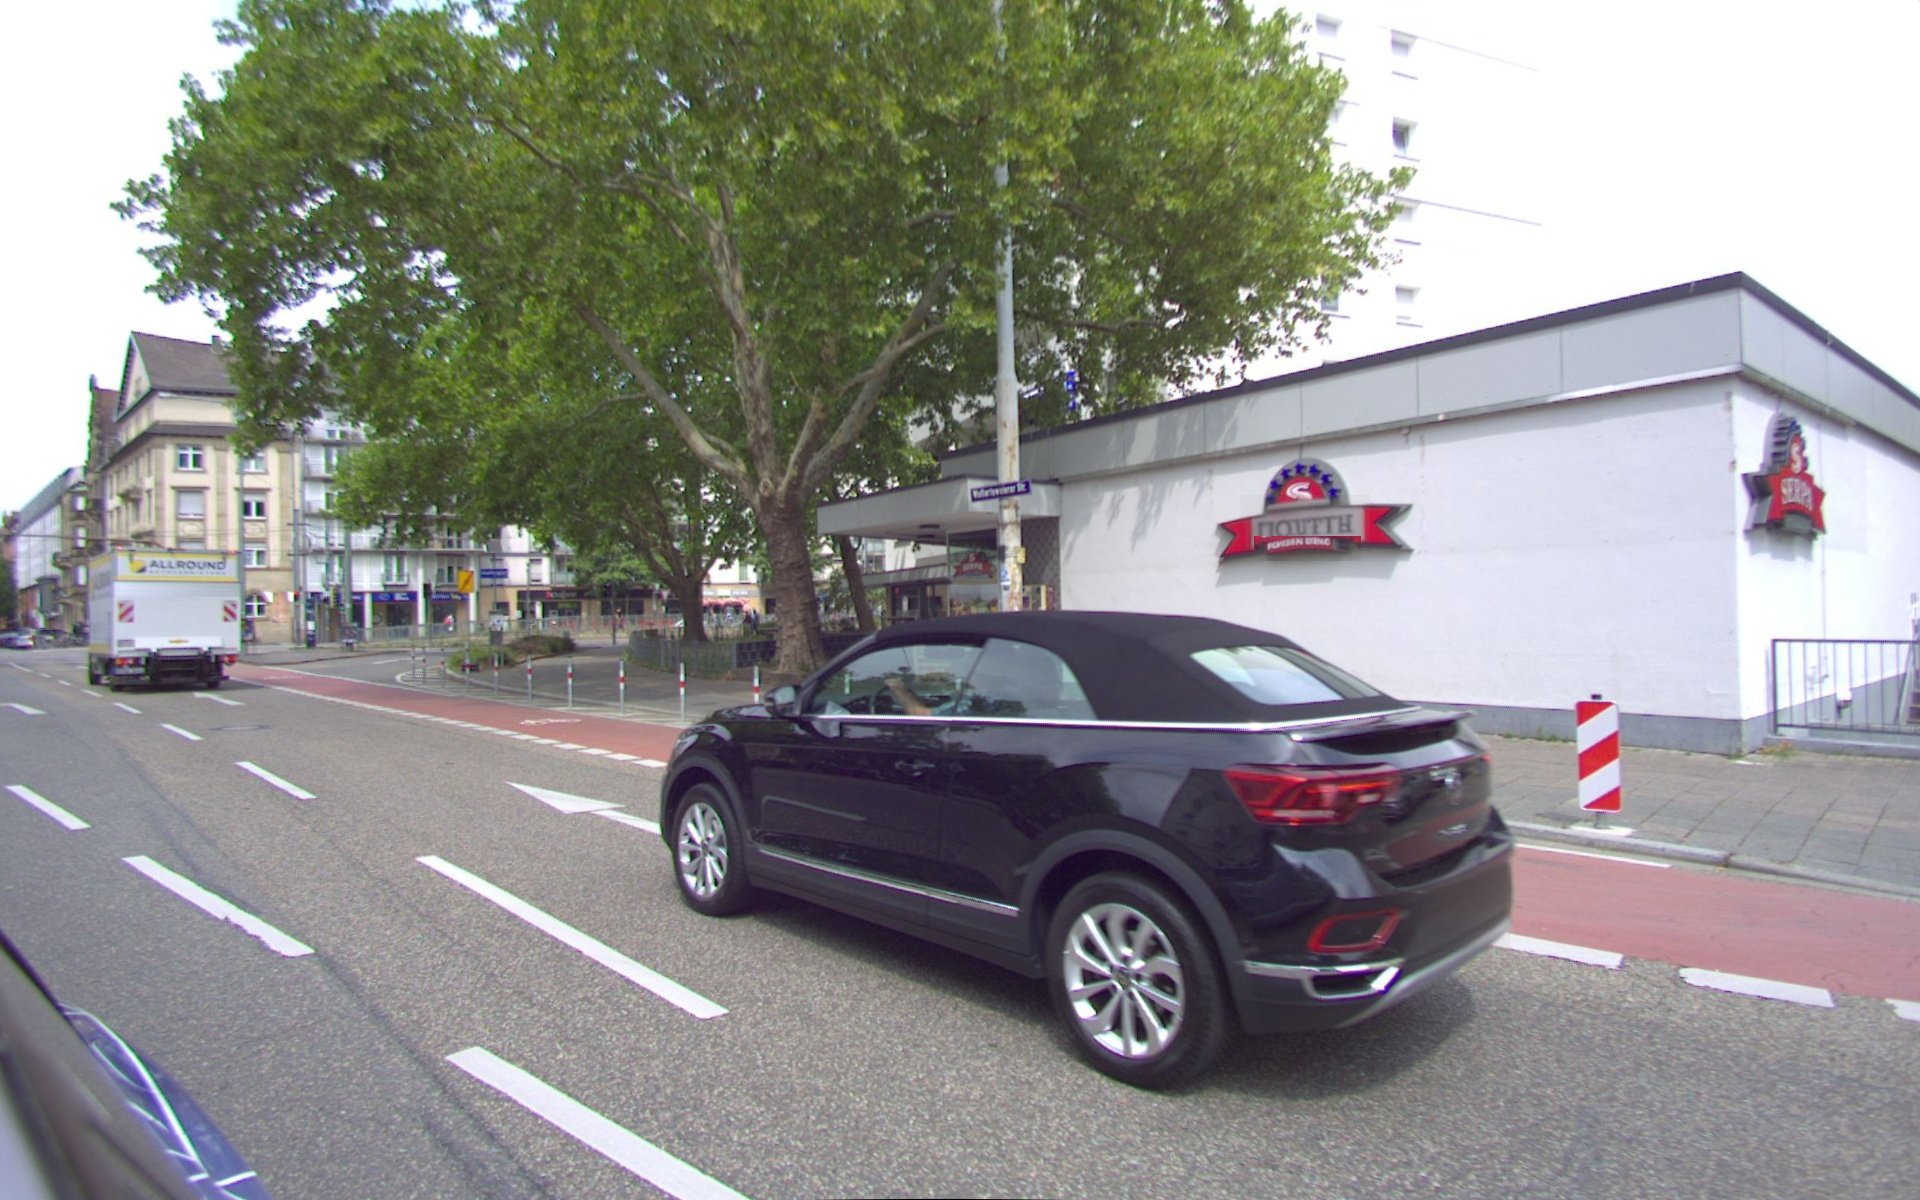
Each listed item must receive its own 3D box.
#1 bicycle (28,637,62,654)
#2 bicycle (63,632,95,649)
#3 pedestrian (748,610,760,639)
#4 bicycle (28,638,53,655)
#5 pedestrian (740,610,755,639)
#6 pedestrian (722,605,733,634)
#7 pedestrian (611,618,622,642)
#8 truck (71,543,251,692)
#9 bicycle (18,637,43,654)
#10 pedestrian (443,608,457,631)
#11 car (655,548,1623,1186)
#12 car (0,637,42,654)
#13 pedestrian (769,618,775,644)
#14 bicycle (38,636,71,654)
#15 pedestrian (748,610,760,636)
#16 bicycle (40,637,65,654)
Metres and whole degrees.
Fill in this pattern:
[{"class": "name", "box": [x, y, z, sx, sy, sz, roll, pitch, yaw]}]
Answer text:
[{"class": "bicycle", "box": [-69.419, 3.433, 76.778, 1.844, 1.201, 0.457, -1, -2, -28]}, {"class": "bicycle", "box": [-68.436, 3.166, 78.619, 0.397, 1.201, 1.806, -4, -1, 42]}, {"class": "pedestrian", "box": [-11.802, 1.386, 58.049, 0.497, 1.636, 0.698, 0, -2, -26]}, {"class": "bicycle", "box": [-71.613, 3.627, 78.803, 0.397, 1.201, 1.328, -3, 1, 41]}, {"class": "pedestrian", "box": [-12.008, 1.372, 57.171, 0.673, 1.648, 0.698, 0, -2, -26]}, {"class": "pedestrian", "box": [-18.220, 1.559, 79.304, 0.744, 2.267, 0.763, 0, -2, -23]}, {"class": "pedestrian", "box": [-22.398, 1.960, 66.034, 0.588, 1.564, 0.672, 0, -1, -25]}, {"class": "truck", "box": [-19.536, 0.479, 24.583, 7.023, 3.131, 2.512, -2, -3, 45]}, {"class": "bicycle", "box": [-71.443, 3.513, 77.781, 0.397, 1.201, 1.330, -3, 1, 36]}, {"class": "pedestrian", "box": [-35.479, 1.349, 70.419, 0.824, 1.564, 0.870, -1, -2, -24]}, {"class": "car", "box": [0.374, 0.702, 4.484, 1.677, 1.530, 4.003, 2, -2, -44]}, {"class": "car", "box": [-91.950, 4.413, 98.407, 1.739, 1.547, 3.818, -2, -1, 8]}, {"class": "pedestrian", "box": [-14.899, 2.466, 80.251, 0.363, 2.029, 0.503, 0, -2, -24]}, {"class": "bicycle", "box": [-69.683, 3.448, 77.930, 0.397, 1.201, 1.799, -3, 1, 39]}, {"class": "pedestrian", "box": [-15.958, 1.795, 78.438, 0.744, 2.029, 0.763, 0, -2, -23]}, {"class": "bicycle", "box": [-70.143, 3.518, 78.219, 0.397, 1.201, 1.328, -3, 0, 39]}]
